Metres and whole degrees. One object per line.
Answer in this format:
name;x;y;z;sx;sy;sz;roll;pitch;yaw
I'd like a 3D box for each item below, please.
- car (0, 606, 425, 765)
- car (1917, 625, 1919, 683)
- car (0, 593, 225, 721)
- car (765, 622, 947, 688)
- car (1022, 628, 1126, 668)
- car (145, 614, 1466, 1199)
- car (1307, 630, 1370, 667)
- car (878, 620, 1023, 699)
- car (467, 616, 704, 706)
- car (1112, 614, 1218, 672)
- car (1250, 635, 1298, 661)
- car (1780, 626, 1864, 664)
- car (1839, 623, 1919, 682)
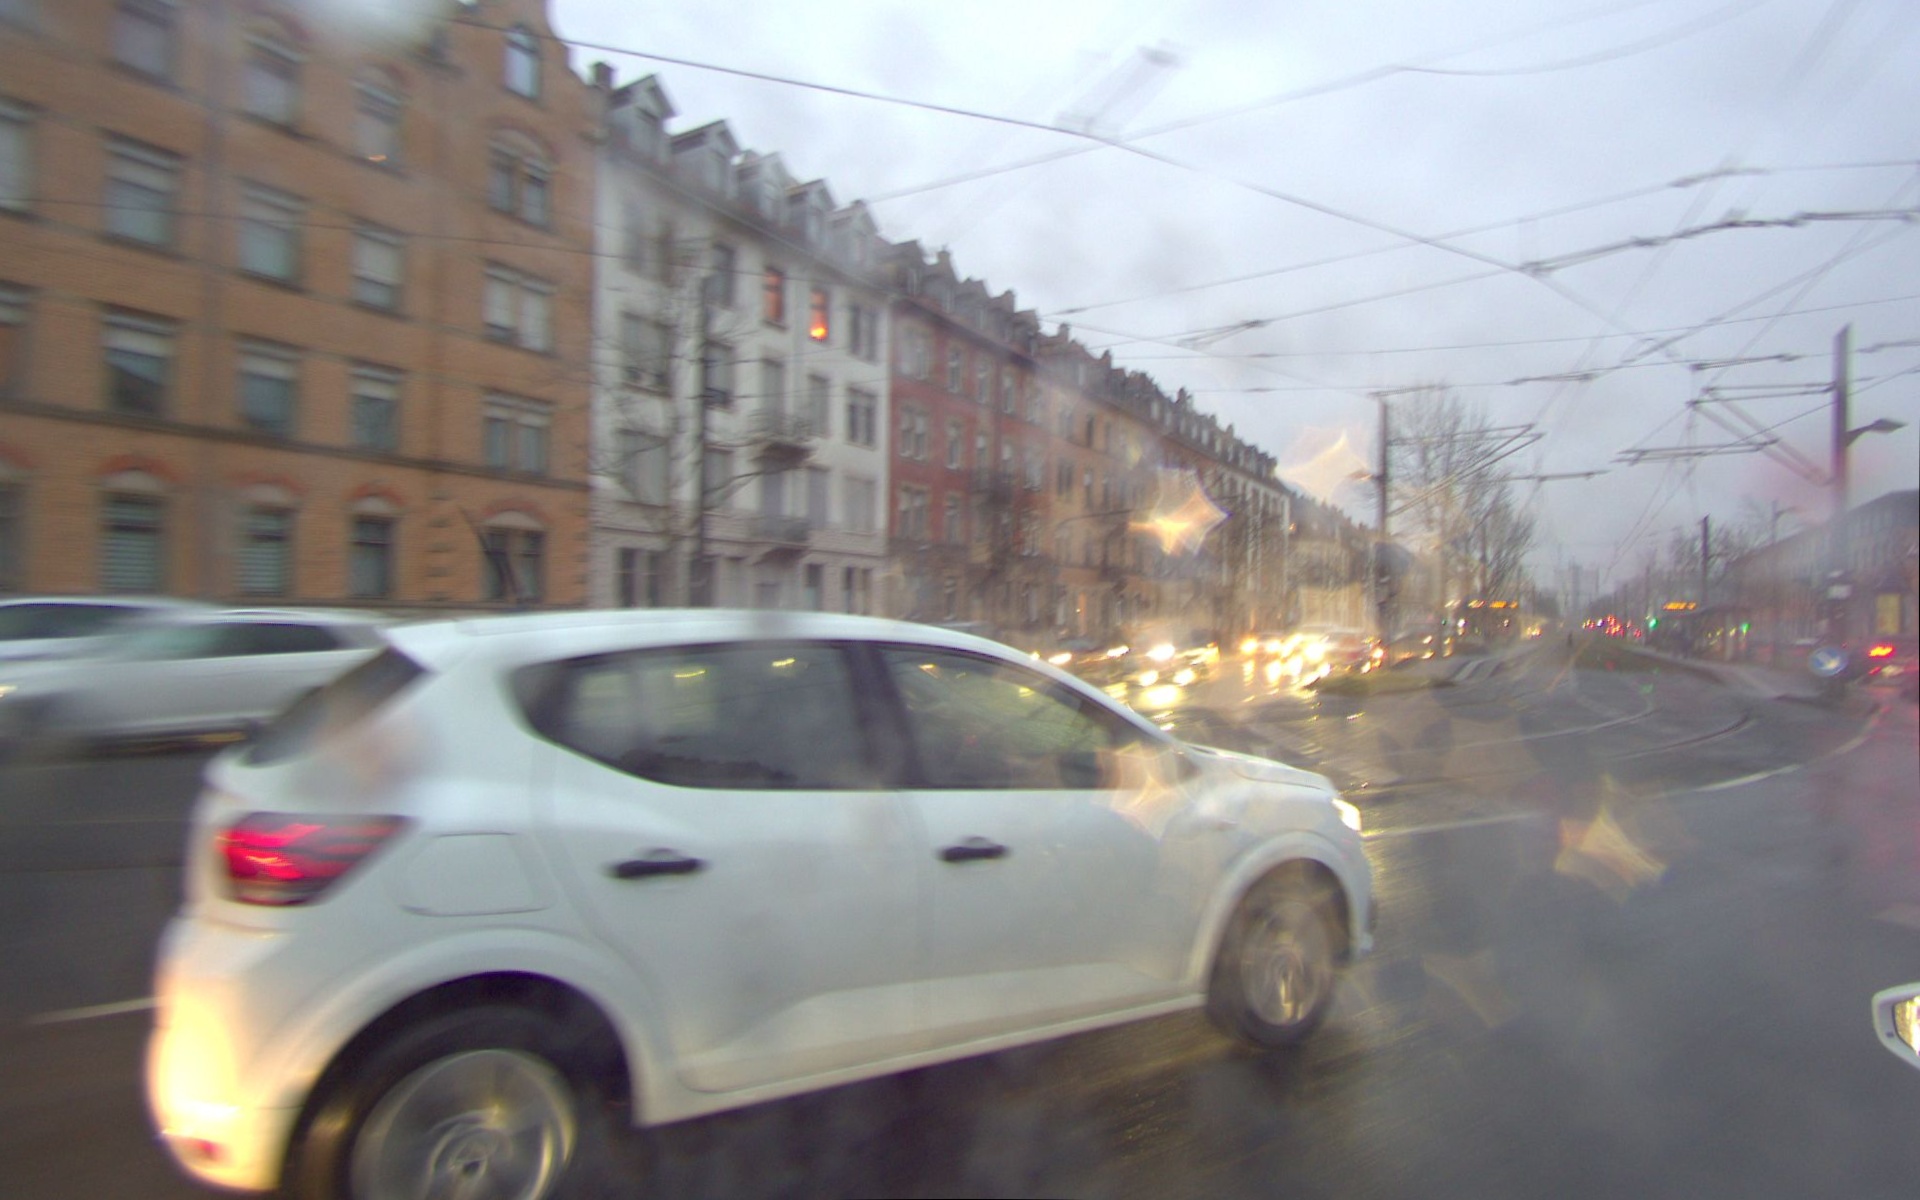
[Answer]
car;-8.518;0.829;11.090;1.661;1.476;4.313;0;-1;41
car;24.148;1.323;23.840;1.972;1.416;3.978;0;-1;42
car;-12.000;0.689;12.728;4.196;1.545;1.665;2;-1;-42
car;-2.293;1.209;23.244;1.659;1.372;4.370;0;-1;37
car;3.627;1.482;31.575;1.579;1.149;3.775;0;-1;37
car;-0.187;0.807;3.568;3.951;1.507;1.619;0;-1;-29
car;14.153;1.770;37.444;1.514;1.262;4.079;0;-1;31
car;-0.144;1.204;21.297;1.468;1.506;3.140;0;-1;37
car;-6.572;1.014;17.887;1.661;1.410;3.596;0;-1;41
car;6.171;1.231;29.902;1.657;1.573;4.110;0;-1;33
car;16.136;2.430;51.506;1.514;1.243;4.079;0;-1;30
car;40.029;2.057;46.745;1.962;1.639;3.996;0;-1;25
car;30.436;1.653;32.783;1.965;1.789;3.991;0;-1;31
